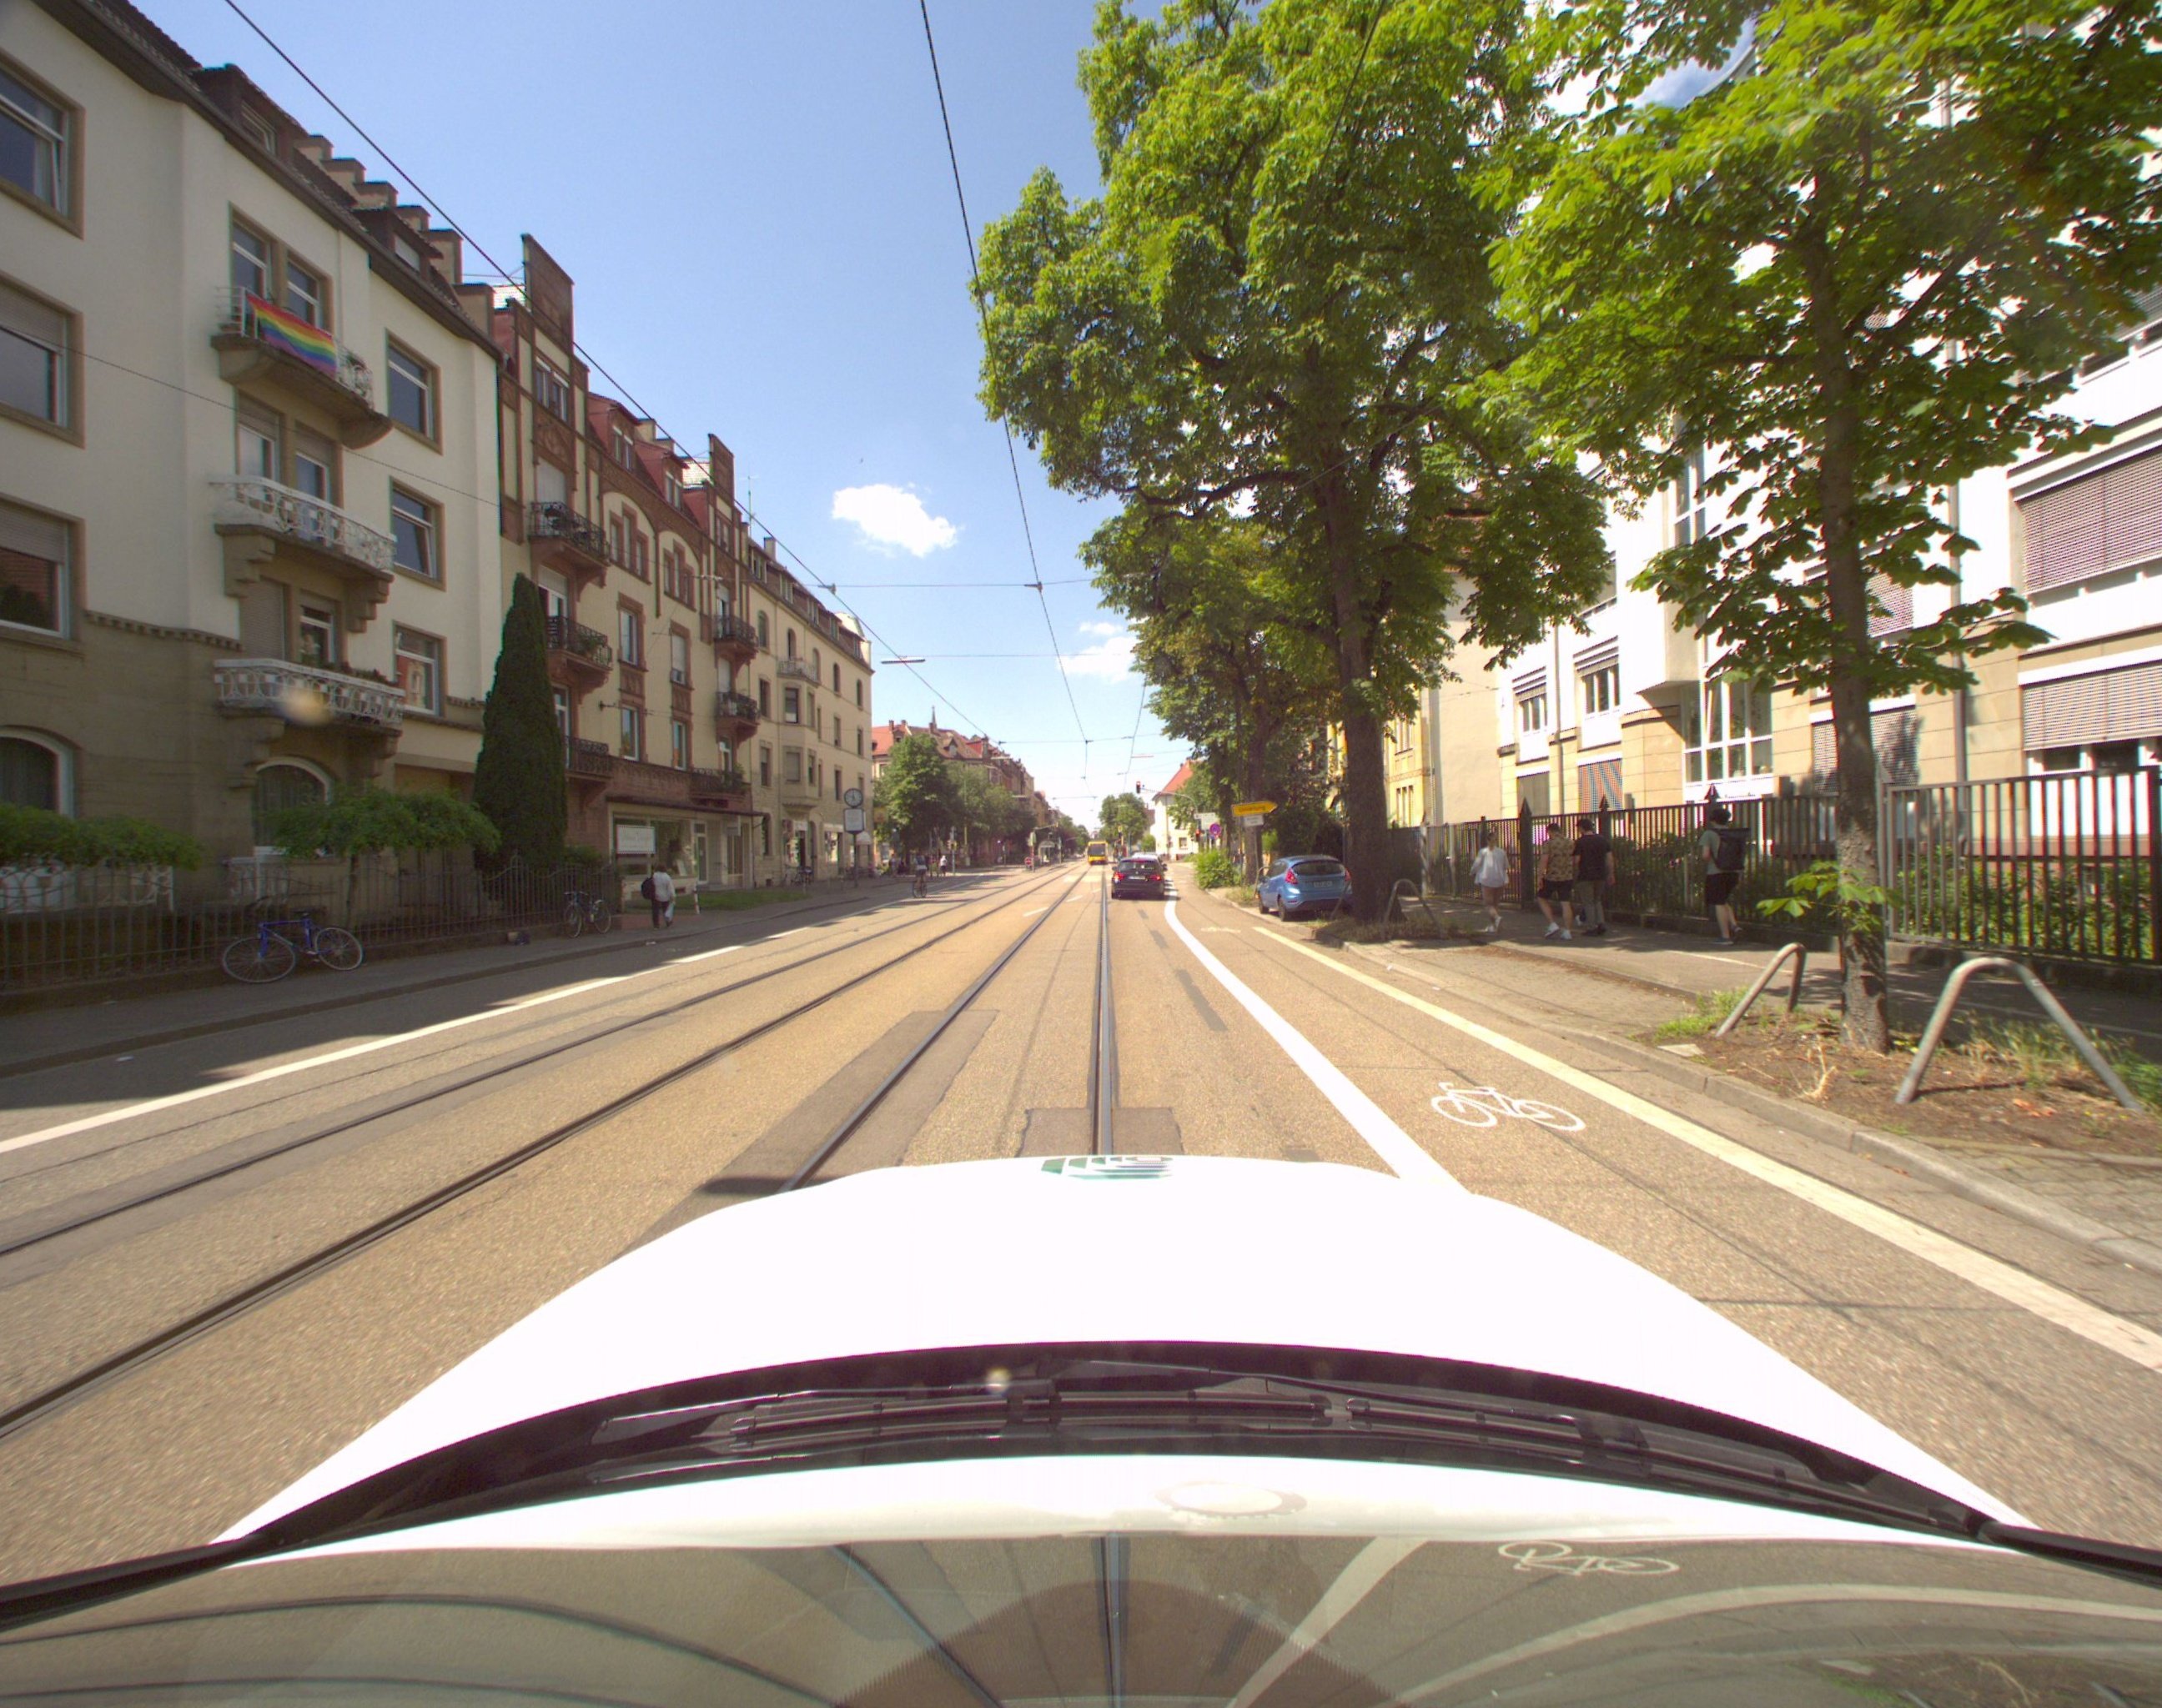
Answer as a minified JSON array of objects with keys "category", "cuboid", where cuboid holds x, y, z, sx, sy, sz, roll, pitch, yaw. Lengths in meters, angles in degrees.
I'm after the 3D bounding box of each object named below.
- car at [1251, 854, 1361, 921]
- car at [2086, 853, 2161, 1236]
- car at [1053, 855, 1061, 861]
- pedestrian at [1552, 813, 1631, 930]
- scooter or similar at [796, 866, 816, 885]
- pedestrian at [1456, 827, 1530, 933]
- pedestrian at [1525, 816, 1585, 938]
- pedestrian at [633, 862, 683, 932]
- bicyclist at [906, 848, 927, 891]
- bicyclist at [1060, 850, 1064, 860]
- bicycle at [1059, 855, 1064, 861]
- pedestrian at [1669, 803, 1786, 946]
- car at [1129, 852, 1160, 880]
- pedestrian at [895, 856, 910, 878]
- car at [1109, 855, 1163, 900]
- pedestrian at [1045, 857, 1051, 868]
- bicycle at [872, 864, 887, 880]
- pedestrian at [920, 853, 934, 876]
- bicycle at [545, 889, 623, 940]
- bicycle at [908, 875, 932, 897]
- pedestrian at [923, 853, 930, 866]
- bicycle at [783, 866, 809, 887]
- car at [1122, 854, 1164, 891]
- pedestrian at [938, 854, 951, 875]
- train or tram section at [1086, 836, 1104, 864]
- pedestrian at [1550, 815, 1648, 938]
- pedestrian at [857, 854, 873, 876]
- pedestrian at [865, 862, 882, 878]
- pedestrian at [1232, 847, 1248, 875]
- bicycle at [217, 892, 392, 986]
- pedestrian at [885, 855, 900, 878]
[{"category":"car","cuboid":[5.340,0.735,19.775,1.671,1.443,3.721,-2,0,1]},{"category":"car","cuboid":[4.915,0.708,1.567,1.685,1.453,3.474,-2,0,1]},{"category":"car","cuboid":[-6.479,1.191,217.308,1.785,1.586,3.990,0,-1,-7]},{"category":"pedestrian","cuboid":[8.313,0.276,13.305,0.658,1.811,0.977,-2,0,1]},{"category":"scooter or similar","cuboid":[-15.063,1.177,44.587,0.699,1.044,1.196,1,-1,-39]},{"category":"pedestrian","cuboid":[6.750,0.413,13.390,0.762,1.651,0.976,-2,0,7]},{"category":"pedestrian","cuboid":[7.229,0.337,12.454,0.698,1.776,0.953,-2,0,26]},{"category":"pedestrian","cuboid":[-9.899,0.985,19.058,0.907,1.542,0.974,-1,0,-34]},{"category":"bicyclist","cuboid":[-6.464,0.602,31.959,0.757,1.663,0.827,0,-1,-14]},{"category":"bicyclist","cuboid":[-3.663,0.195,154.093,0.720,1.870,0.825,-1,0,-1]},{"category":"bicycle","cuboid":[-3.664,0.847,153.989,0.726,1.101,1.716,-1,0,1]},{"category":"pedestrian","cuboid":[8.620,0.262,10.904,0.682,1.797,1.084,-2,0,1]},{"category":"car","cuboid":[3.701,0.658,47.162,1.683,1.514,3.827,1,0,5]},{"category":"pedestrian","cuboid":[-14.000,1.023,63.971,0.857,1.635,1.026,-1,0,0]},{"category":"car","cuboid":[1.957,0.766,28.397,1.714,1.409,4.571,1,0,5]},{"category":"pedestrian","cuboid":[-3.736,0.957,92.594,0.612,1.243,0.627,-1,0,-4]},{"category":"bicycle","cuboid":[-15.103,1.352,61.033,0.547,1.128,1.664,-1,-2,-35]},{"category":"pedestrian","cuboid":[-12.703,0.854,67.134,0.897,1.891,1.165,-1,0,1]},{"category":"bicycle","cuboid":[-10.340,1.234,17.017,0.409,0.961,1.842,2,-1,2]},{"category":"bicycle","cuboid":[-6.372,1.248,32.112,0.754,0.817,1.810,-1,0,-17]},{"category":"pedestrian","cuboid":[-21.765,0.727,114.495,0.742,1.811,0.635,-1,0,-29]},{"category":"bicycle","cuboid":[-14.915,1.164,42.641,0.366,1.066,1.473,-1,-1,25]},{"category":"car","cuboid":[2.648,0.753,35.191,1.678,1.484,3.688,-2,0,4]},{"category":"pedestrian","cuboid":[-11.368,0.874,67.713,0.914,1.723,0.839,-1,0,-4]},{"category":"train or tram section","cuboid":[1.867,-0.476,107.961,2.182,3.482,8.848,-2,0,1]},{"category":"pedestrian","cuboid":[7.801,0.328,12.324,0.785,1.761,1.052,-2,0,1]},{"category":"pedestrian","cuboid":[-15.793,0.810,59.450,0.914,1.595,0.809,-1,0,-2]},{"category":"pedestrian","cuboid":[-14.622,1.106,57.457,0.912,1.077,0.883,-1,0,2]},{"category":"pedestrian","cuboid":[9.552,0.424,48.958,0.852,1.645,0.838,-2,0,7]},{"category":"bicycle","cuboid":[-10.472,1.110,11.082,0.605,1.065,1.772,2,0,1]},{"category":"pedestrian","cuboid":[-14.132,0.948,61.092,0.780,1.732,0.852,0,0,-43]}]
